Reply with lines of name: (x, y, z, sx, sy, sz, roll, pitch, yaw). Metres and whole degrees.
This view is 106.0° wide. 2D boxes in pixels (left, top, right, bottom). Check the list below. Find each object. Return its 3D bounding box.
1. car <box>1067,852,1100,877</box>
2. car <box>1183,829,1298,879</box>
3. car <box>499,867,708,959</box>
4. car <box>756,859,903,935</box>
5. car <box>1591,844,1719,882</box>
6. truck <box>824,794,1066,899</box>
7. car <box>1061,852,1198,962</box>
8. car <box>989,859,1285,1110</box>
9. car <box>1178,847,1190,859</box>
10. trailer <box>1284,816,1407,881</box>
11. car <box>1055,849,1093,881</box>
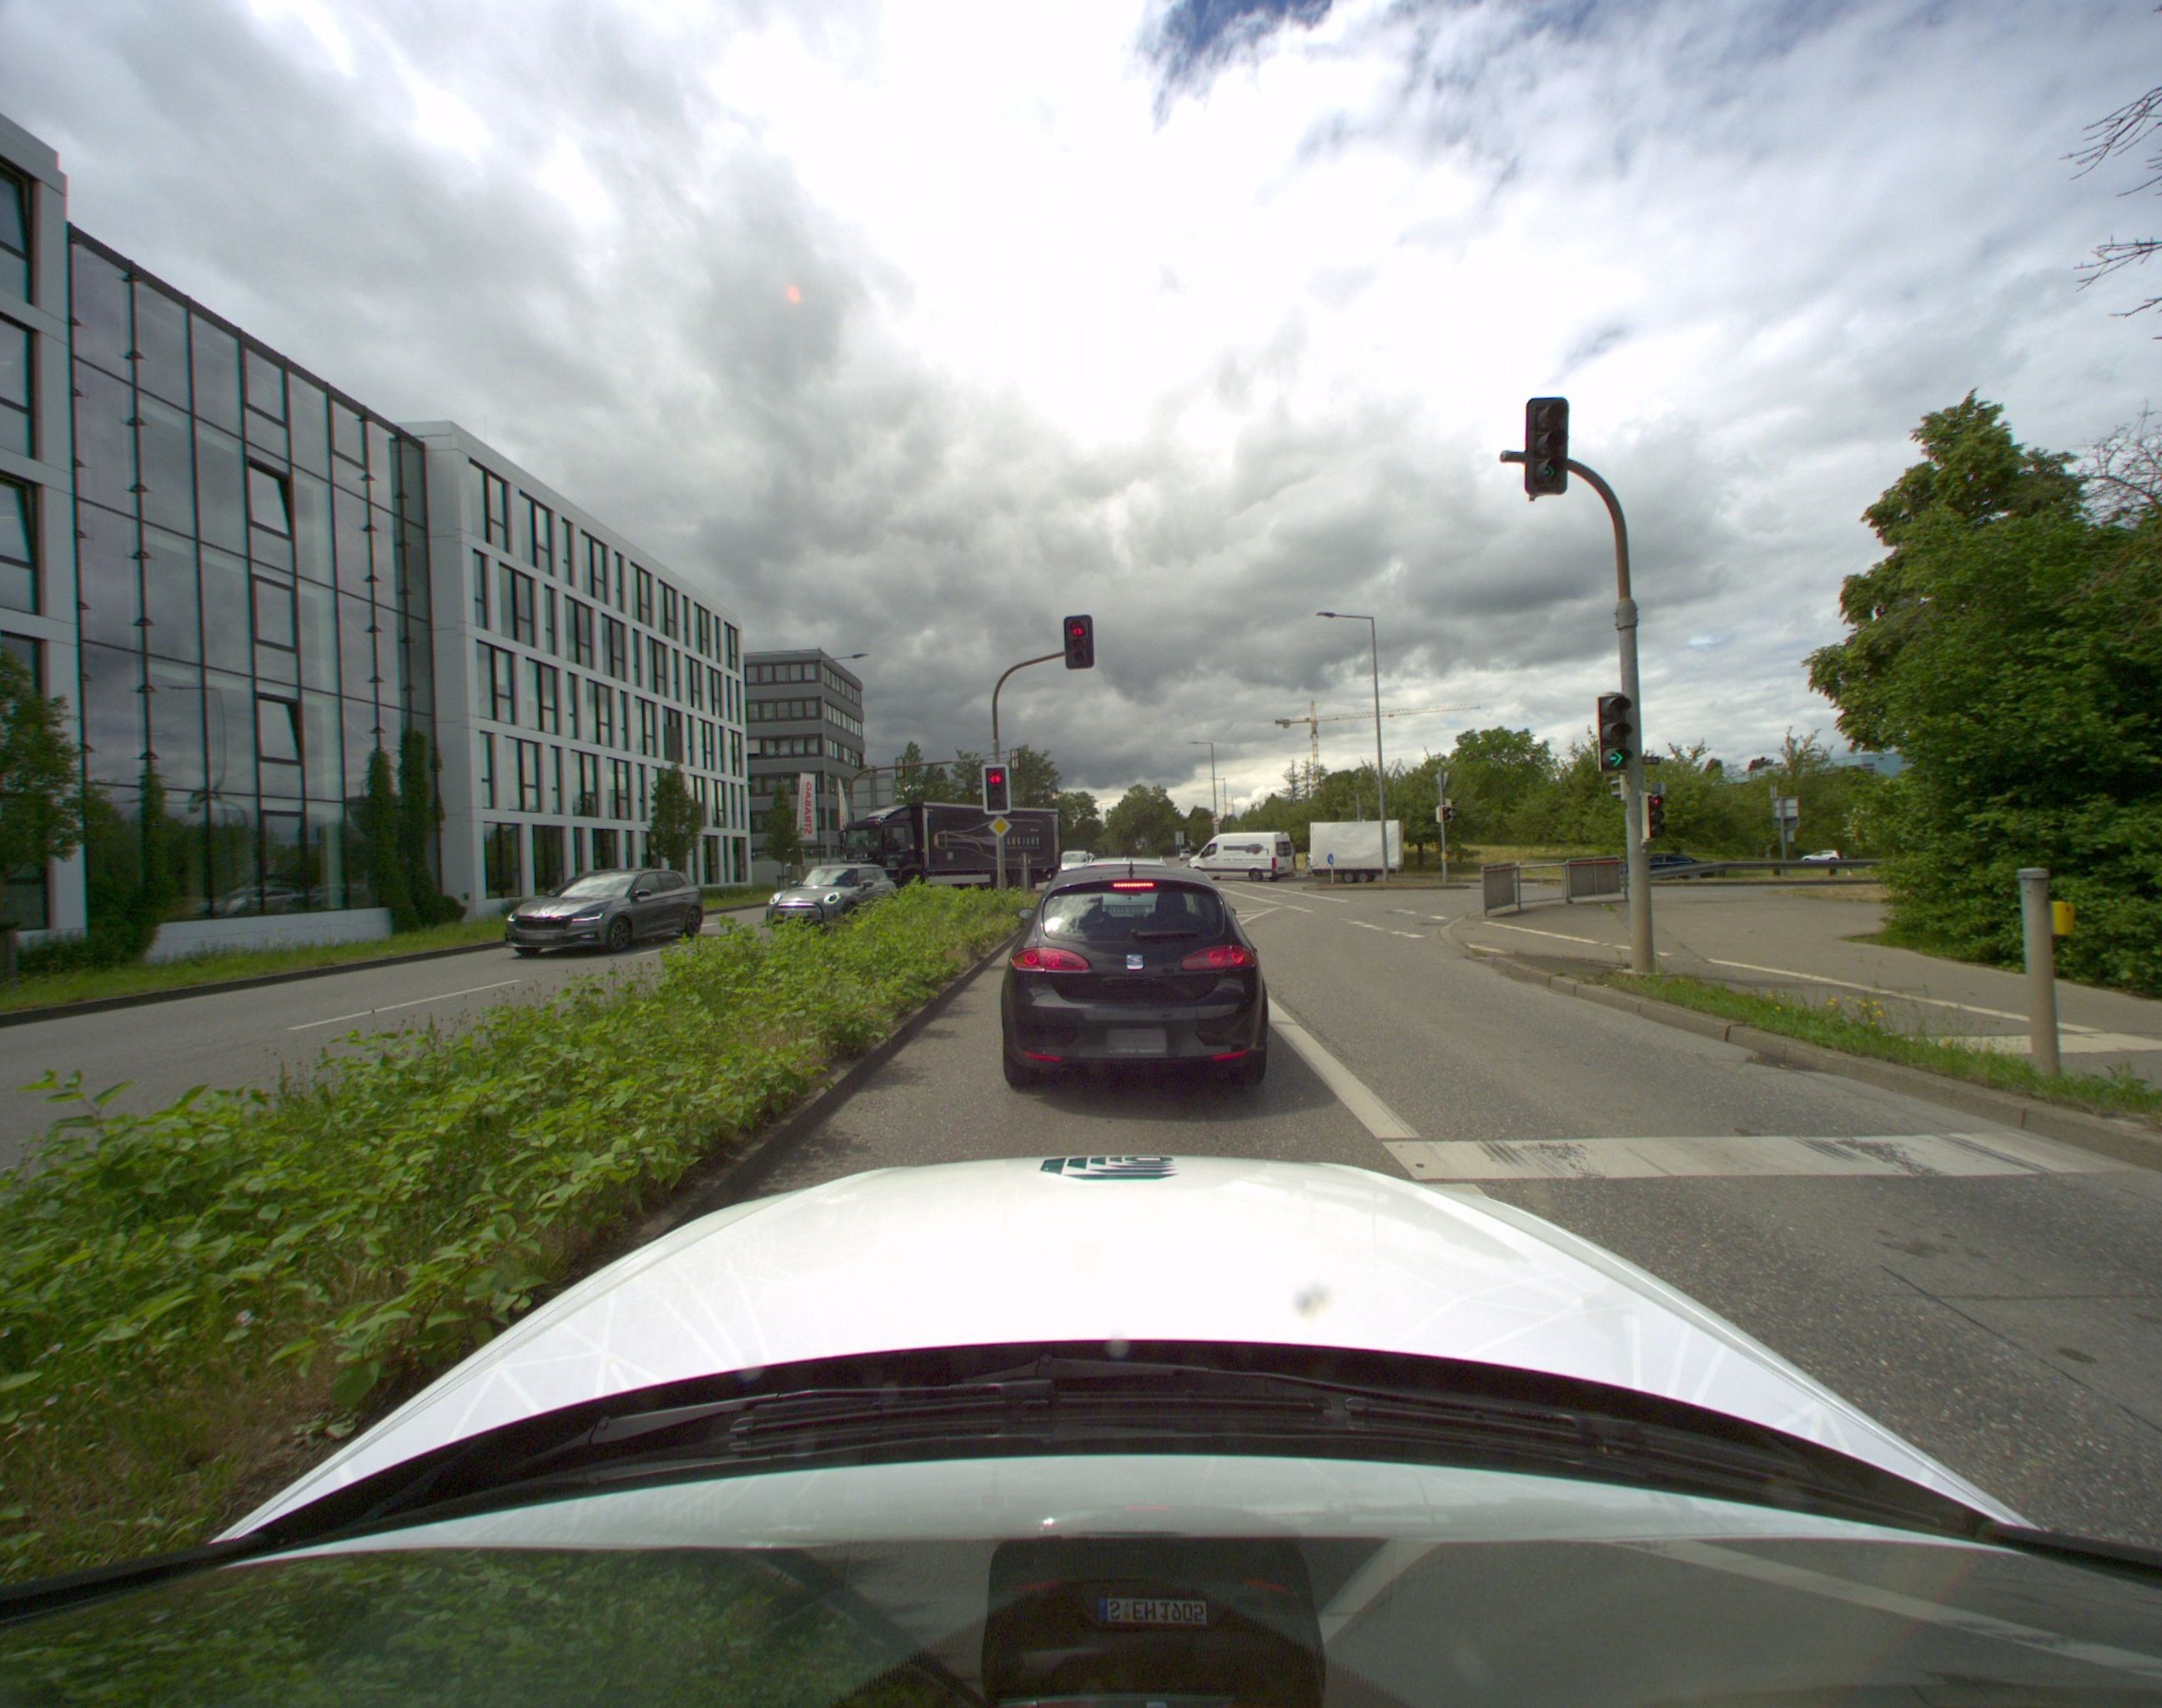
car: (0.195, 0.638, 52.440, 1.652, 1.518, 4.091, -1, 0, 6)
car: (8.509, 0.051, 43.844, 5.760, 2.518, 2.146, -1, -1, 42)
car: (-8.613, 0.987, 15.102, 1.548, 1.383, 3.782, 0, 1, 2)
car: (-5.394, 0.875, 17.968, 1.680, 1.430, 3.643, -2, 0, 8)
car: (26.345, 0.403, 37.514, 4.433, 1.565, 2.004, -2, 0, 6)
truck: (-4.954, -0.279, 31.937, 3.137, 3.518, 9.585, 0, 0, 41)
car: (0.754, 0.734, 12.816, 1.827, 1.467, 3.754, 0, 0, 3)
car: (0.387, 0.775, 6.475, 1.704, 1.417, 3.461, -1, 0, 2)
car: (14.770, -0.111, 117.124, 1.658, 1.596, 4.008, 0, 0, 8)
trailer: (13.216, -0.225, 40.658, 5.518, 3.073, 2.514, -1, -1, 25)
car: (-0.353, 0.590, 46.371, 1.812, 1.686, 4.650, 0, 0, 4)
